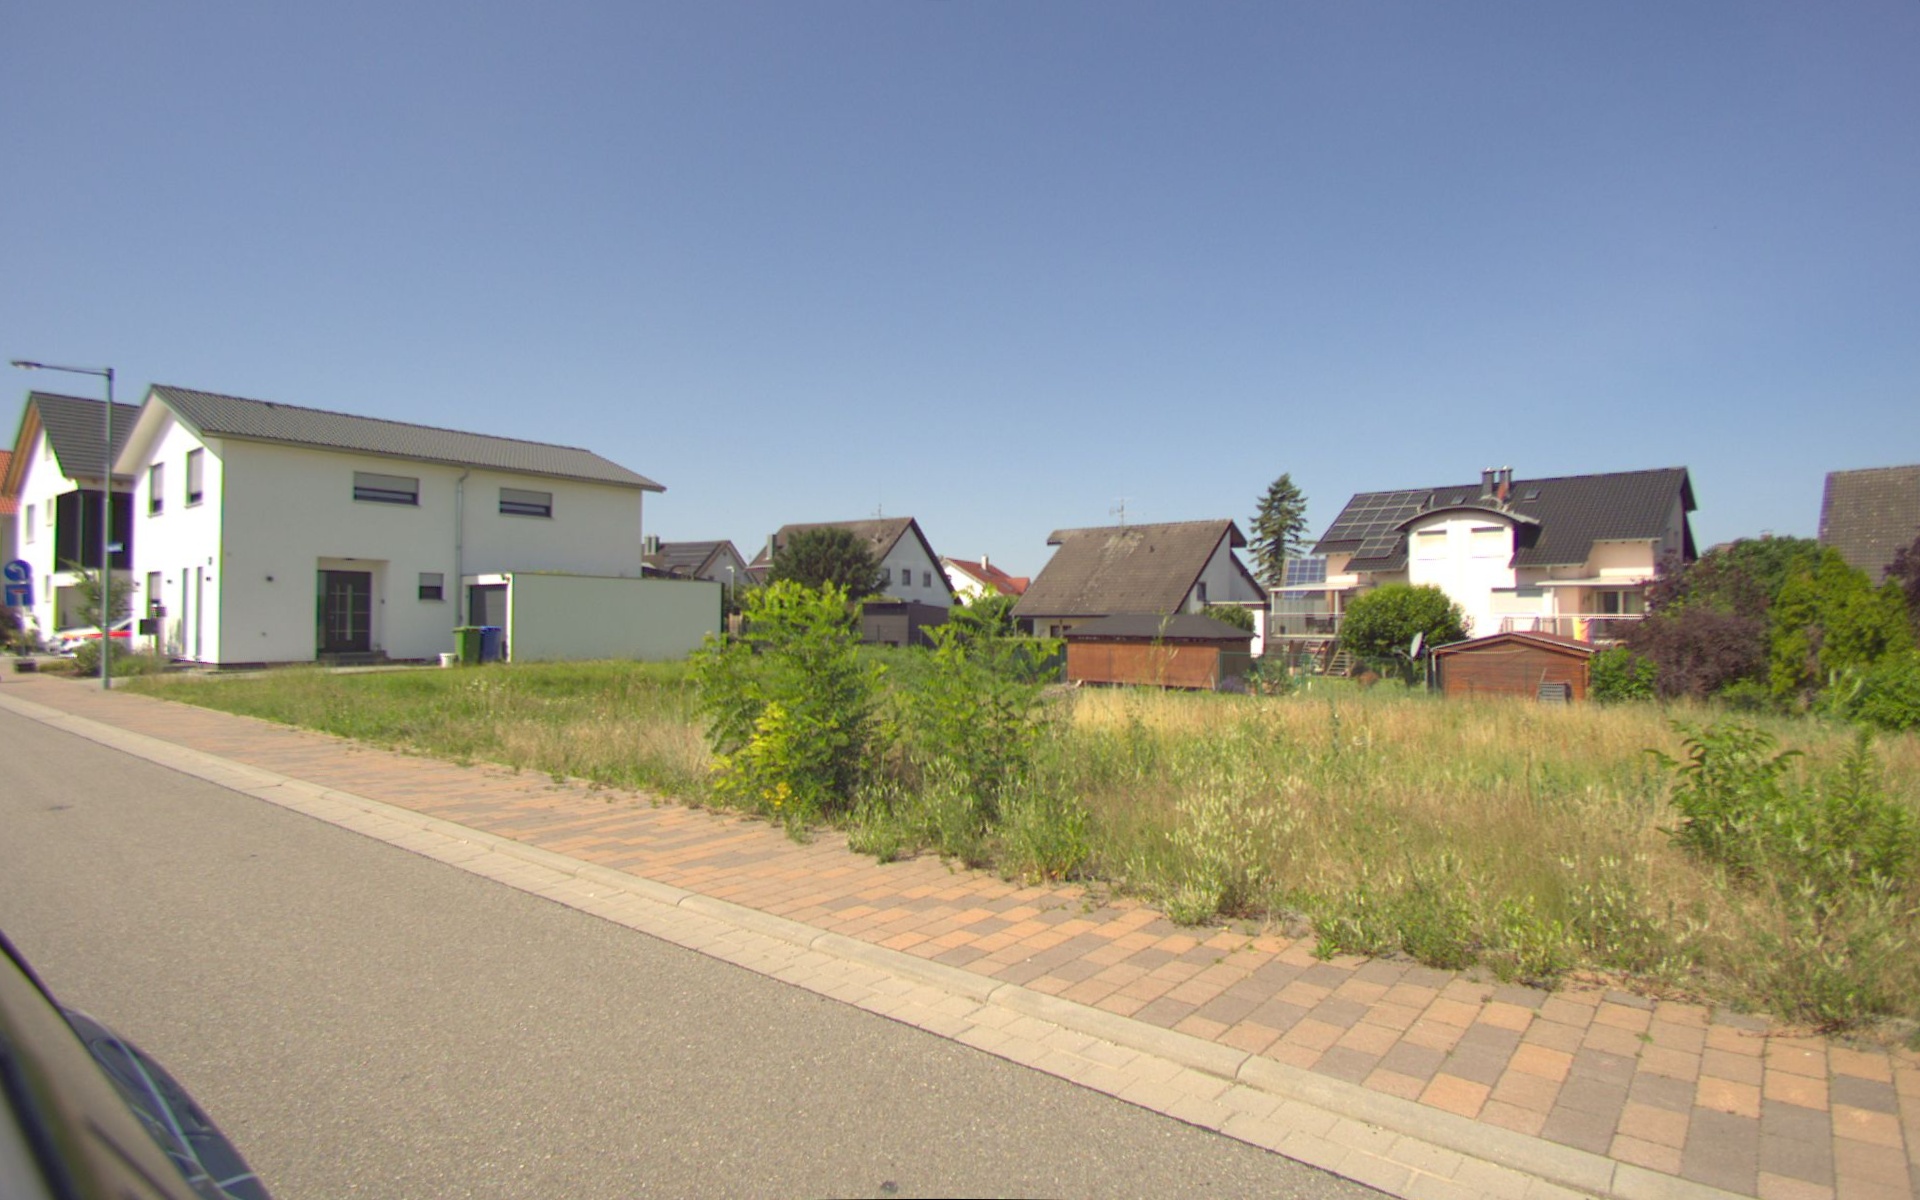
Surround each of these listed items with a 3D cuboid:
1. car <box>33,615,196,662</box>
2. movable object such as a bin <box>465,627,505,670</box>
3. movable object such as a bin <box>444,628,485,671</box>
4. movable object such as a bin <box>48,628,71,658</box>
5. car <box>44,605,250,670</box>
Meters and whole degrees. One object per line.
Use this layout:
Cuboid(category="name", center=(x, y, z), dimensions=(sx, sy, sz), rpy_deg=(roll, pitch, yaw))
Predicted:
Cuboid(category="car", center=(-30.038, 1.371, 36.064), dimensions=(1.741, 1.574, 4.117), rpy_deg=(-1, -2, 34))
Cuboid(category="movable object such as a bin", center=(-12.704, 1.296, 27.061), dimensions=(0.807, 1.107, 0.663), rpy_deg=(-1, -3, 41))
Cuboid(category="movable object such as a bin", center=(-12.950, 1.283, 26.460), dimensions=(0.784, 1.107, 0.653), rpy_deg=(-1, -3, 39))
Cuboid(category="movable object such as a bin", center=(-33.150, 1.592, 37.255), dimensions=(0.600, 1.100, 0.494), rpy_deg=(-3, -3, 35))
Cuboid(category="car", center=(-25.420, 1.170, 31.814), dimensions=(1.935, 1.889, 4.692), rpy_deg=(-1, -2, 37))
